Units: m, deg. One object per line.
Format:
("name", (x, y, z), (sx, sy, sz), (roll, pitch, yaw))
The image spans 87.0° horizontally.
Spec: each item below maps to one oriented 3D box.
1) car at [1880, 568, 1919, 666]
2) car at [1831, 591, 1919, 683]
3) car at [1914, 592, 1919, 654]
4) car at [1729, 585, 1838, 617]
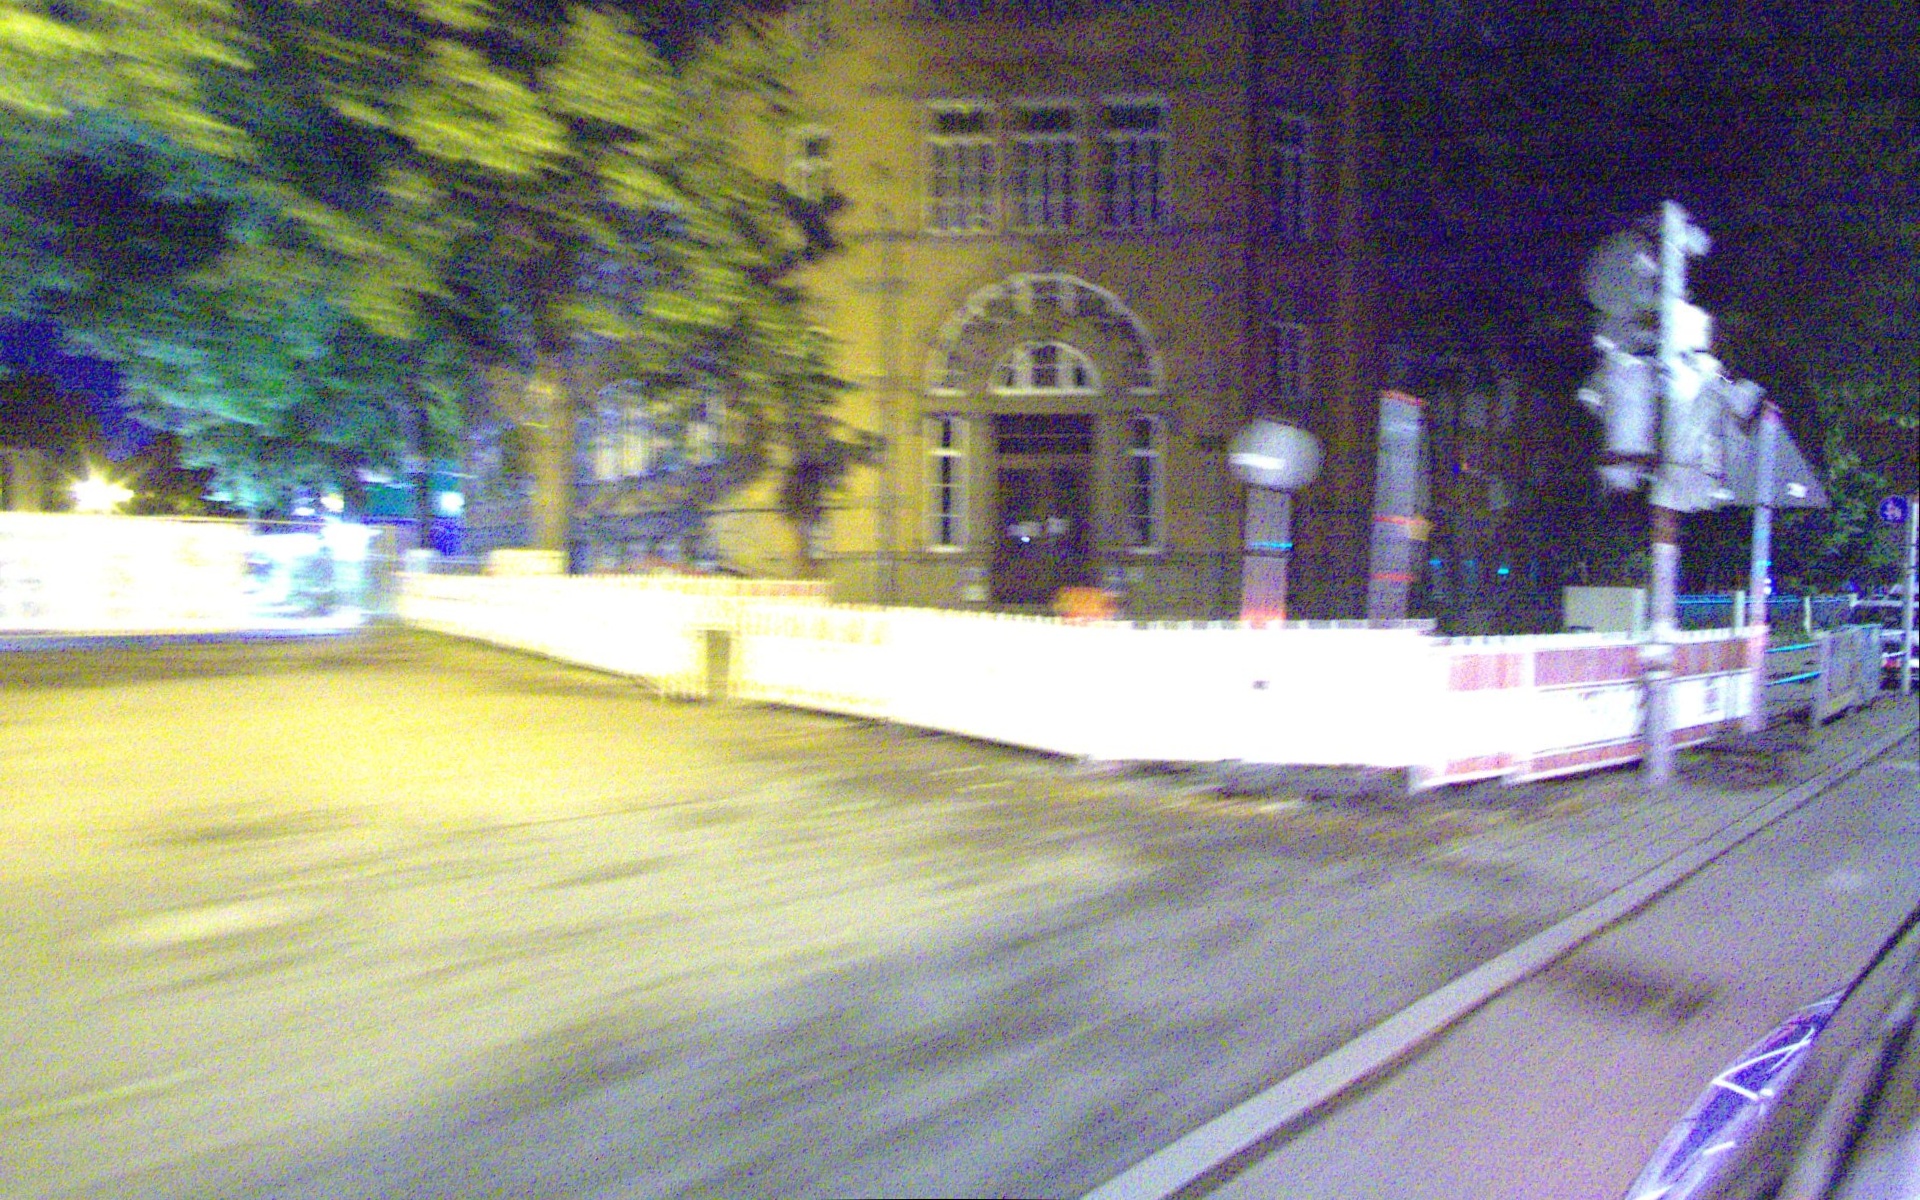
("car", (20.389, 0.341, 20.789), (4.242, 1.878, 1.738), (0, 2, -42))
("car", (16.650, 0.586, 17.658), (4.250, 1.436, 1.730), (0, 2, -43))
("car", (24.476, 0.560, 24.364), (4.365, 1.438, 1.690), (0, 2, -41))
("car", (43.047, 0.014, 52.986), (1.821, 1.485, 4.197), (0, 3, -43))
